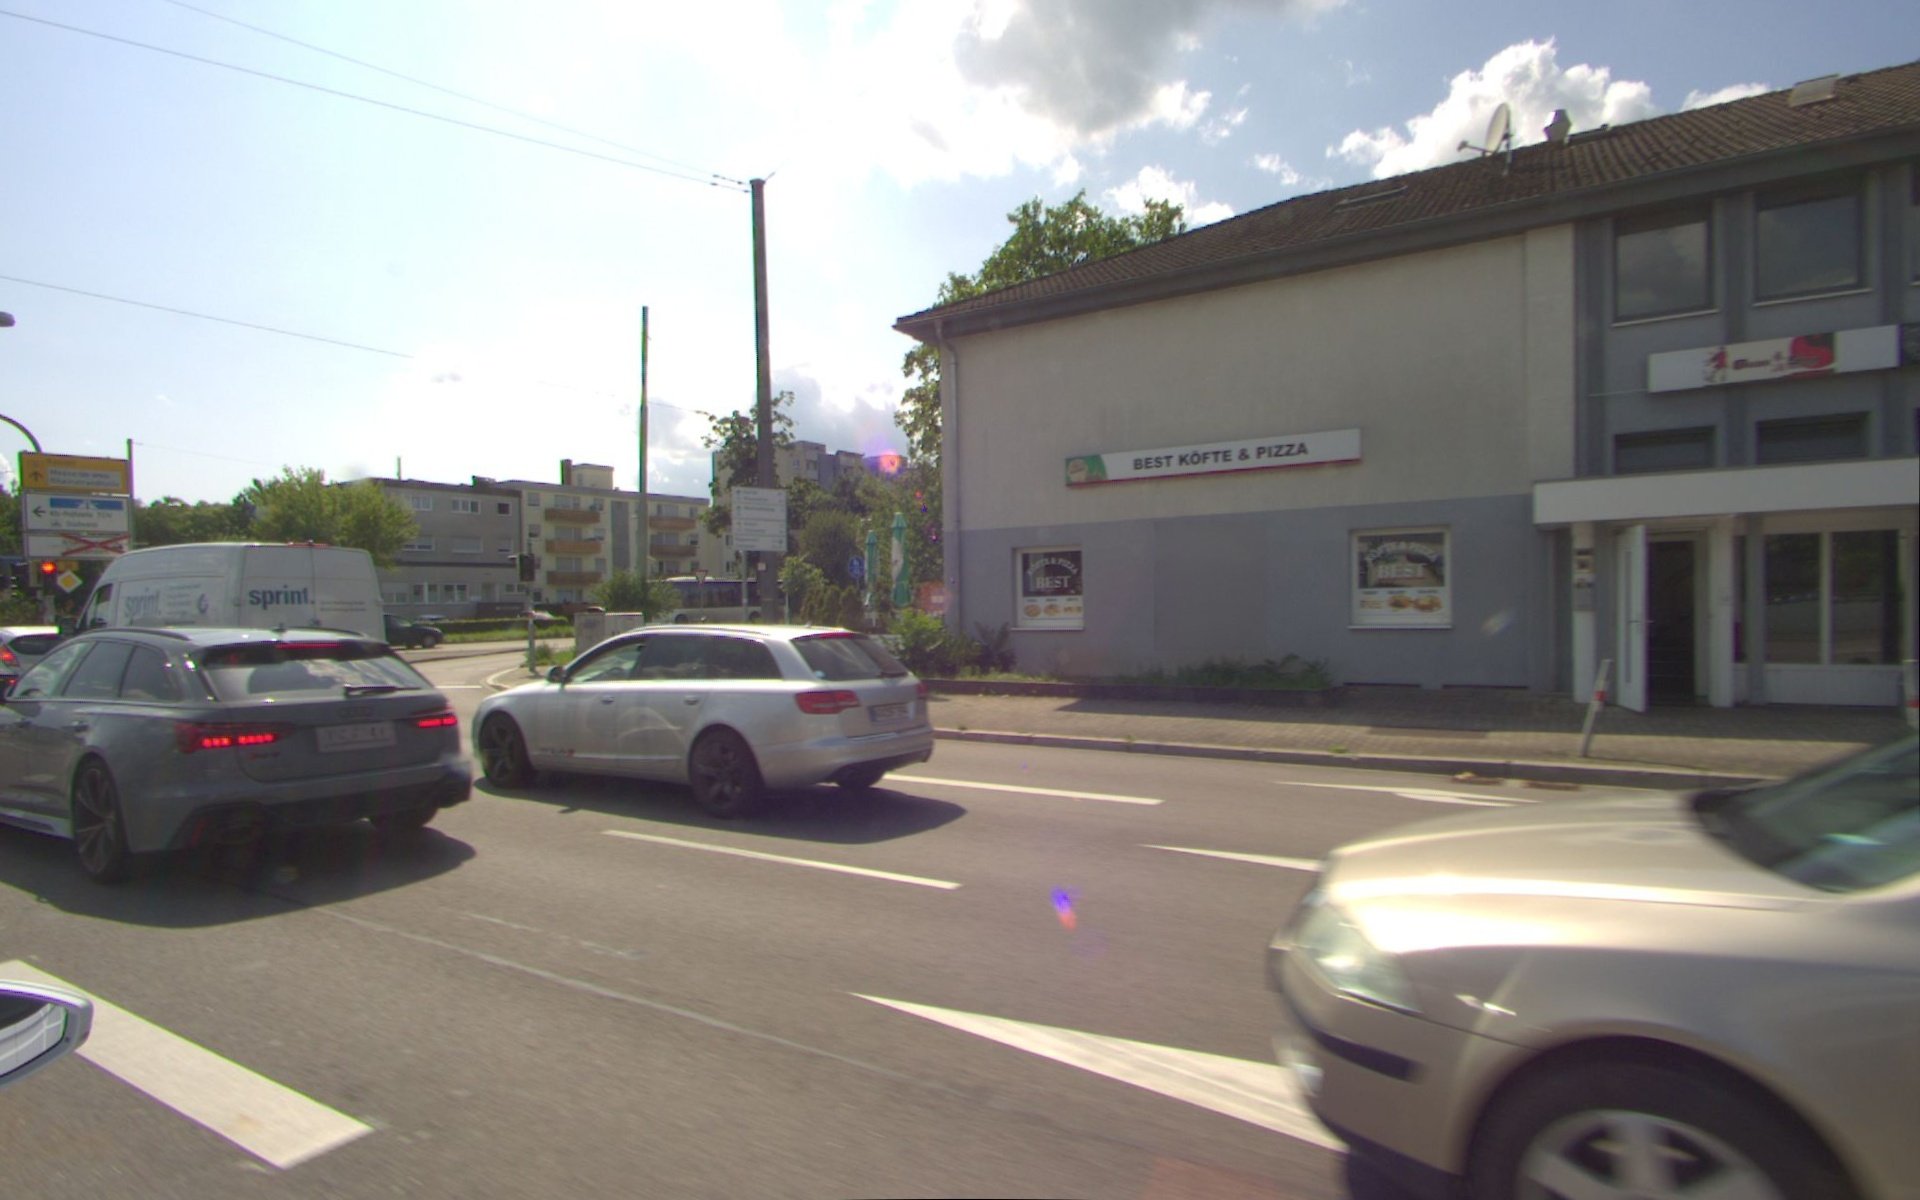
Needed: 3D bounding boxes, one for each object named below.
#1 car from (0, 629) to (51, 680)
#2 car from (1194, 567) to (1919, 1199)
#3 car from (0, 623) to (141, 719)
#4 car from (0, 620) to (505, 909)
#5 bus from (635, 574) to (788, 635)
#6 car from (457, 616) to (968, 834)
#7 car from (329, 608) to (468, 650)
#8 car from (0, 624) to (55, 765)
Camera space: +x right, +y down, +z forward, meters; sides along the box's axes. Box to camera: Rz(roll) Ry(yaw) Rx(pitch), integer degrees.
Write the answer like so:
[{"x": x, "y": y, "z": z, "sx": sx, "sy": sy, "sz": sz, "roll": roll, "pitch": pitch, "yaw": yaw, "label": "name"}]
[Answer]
[{"x": -30.350, "y": 1.653, "z": 29.879, "sx": 1.972, "sy": 1.533, "sz": 4.450, "roll": -1, "pitch": -2, "yaw": 33, "label": "car"}, {"x": 2.932, "y": 0.698, "z": 1.872, "sx": 4.563, "sy": 1.512, "sz": 1.736, "roll": -1, "pitch": -1, "yaw": 32, "label": "car"}, {"x": -16.061, "y": 1.138, "z": 17.347, "sx": 4.319, "sy": 1.467, "sz": 1.741, "roll": -1, "pitch": -1, "yaw": 34, "label": "car"}, {"x": -5.546, "y": 0.885, "z": 7.147, "sx": 4.758, "sy": 1.467, "sz": 1.884, "roll": -1, "pitch": -1, "yaw": 32, "label": "car"}, {"x": -15.839, "y": 0.311, "z": 64.927, "sx": 2.777, "sy": 3.639, "sz": 10.308, "roll": 0, "pitch": 0, "yaw": 35, "label": "bus"}, {"x": -2.305, "y": 0.905, "z": 8.917, "sx": 4.470, "sy": 1.512, "sz": 1.851, "roll": -1, "pitch": -1, "yaw": 32, "label": "car"}, {"x": -23.263, "y": 1.144, "z": 41.640, "sx": 1.974, "sy": 1.569, "sz": 4.658, "roll": 0, "pitch": 0, "yaw": 37, "label": "car"}, {"x": -11.736, "y": 0.975, "z": 10.832, "sx": 4.040, "sy": 1.438, "sz": 1.866, "roll": -1, "pitch": -1, "yaw": 32, "label": "car"}]
